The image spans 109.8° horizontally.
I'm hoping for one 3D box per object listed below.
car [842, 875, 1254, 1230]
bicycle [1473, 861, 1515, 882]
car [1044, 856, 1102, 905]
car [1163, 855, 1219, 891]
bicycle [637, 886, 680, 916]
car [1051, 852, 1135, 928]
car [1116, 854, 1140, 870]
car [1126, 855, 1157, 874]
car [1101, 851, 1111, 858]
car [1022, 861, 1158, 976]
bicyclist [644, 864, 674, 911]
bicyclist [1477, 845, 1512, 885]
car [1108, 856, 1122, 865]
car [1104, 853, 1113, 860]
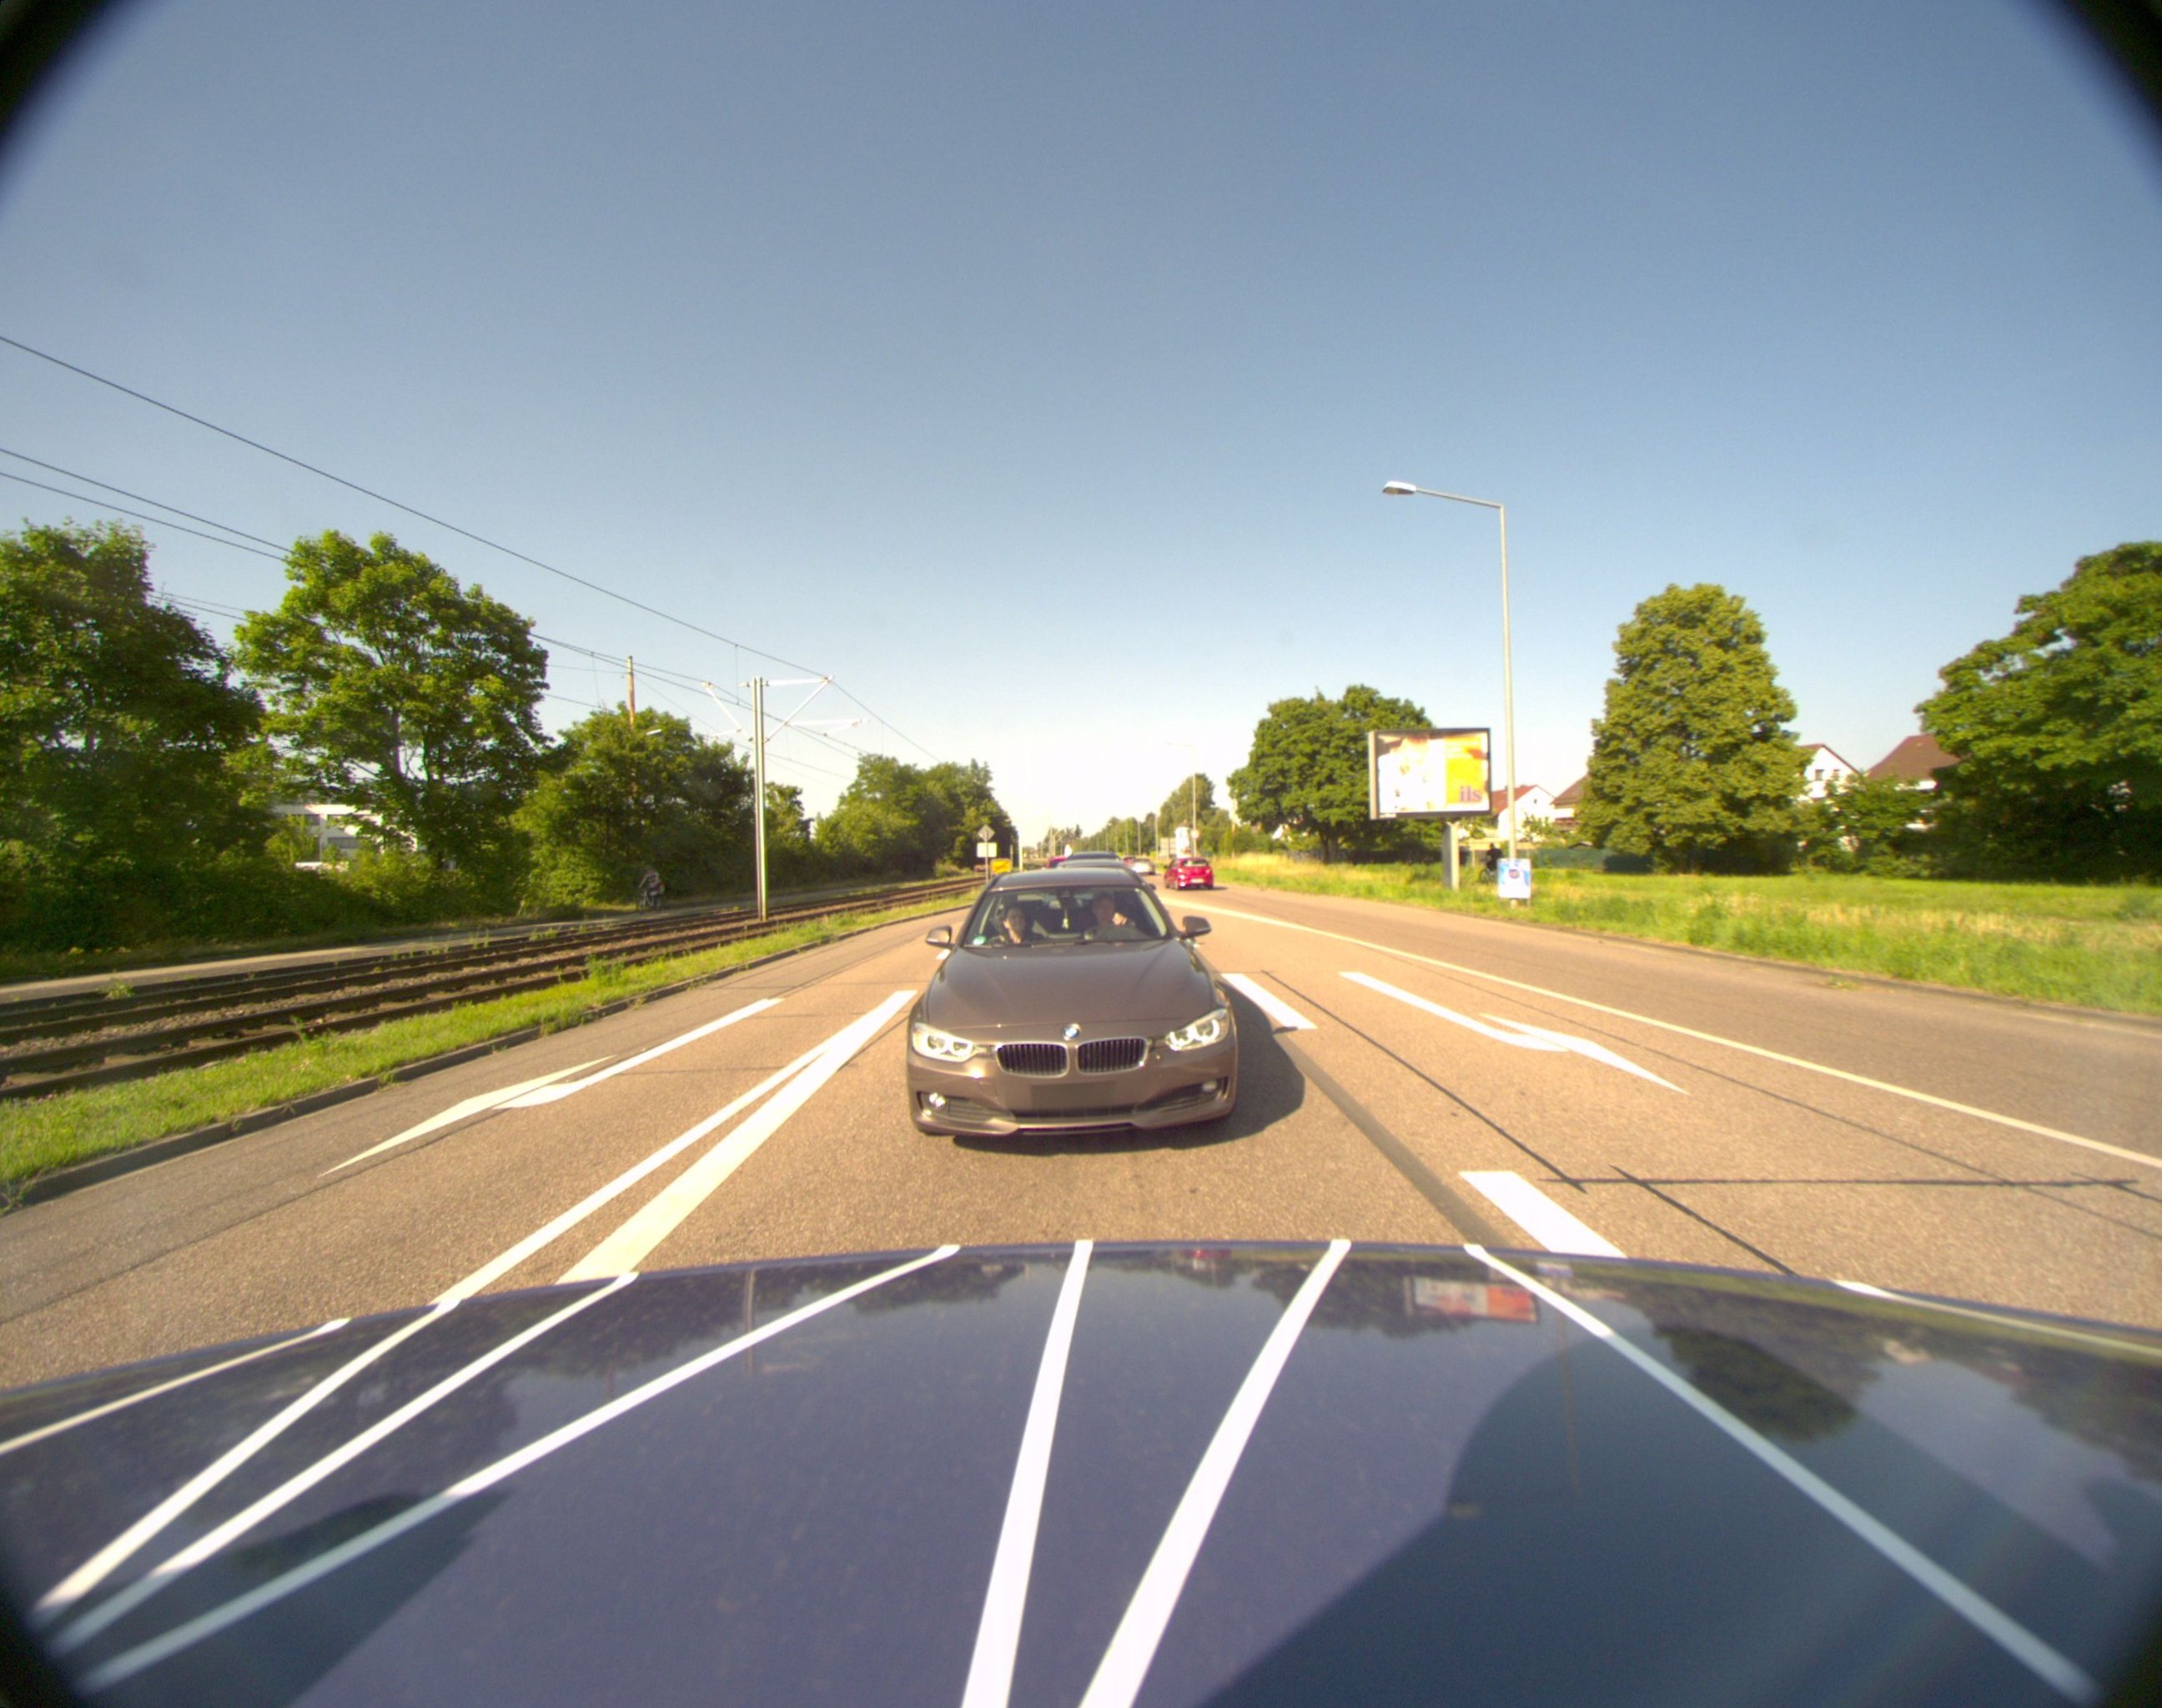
[{"bbox_3d":[-0.124,0.975,5.703,1.821,1.416,4.461,-2,0,1],"label":"car"},{"bbox_3d":[15.190,0.634,28.012,0.455,0.749,1.833,-1,0,-3],"label":"bicycle"},{"bbox_3d":[-0.238,0.845,26.004,1.807,1.498,4.197,-1,0,0],"label":"car"},{"bbox_3d":[4.838,0.802,33.912,1.699,1.489,3.674,0,0,-4],"label":"car"},{"bbox_3d":[-16.716,1.835,30.109,0.547,1.041,1.874,-1,0,3],"label":"bicycle"},{"bbox_3d":[0.294,0.800,19.340,1.821,1.641,4.611,-2,0,0],"label":"car"},{"bbox_3d":[4.418,0.718,71.580,1.784,1.469,3.912,-1,0,-4],"label":"car"},{"bbox_3d":[4.328,0.715,54.989,1.784,1.302,4.286,-1,0,-1],"label":"car"},{"bbox_3d":[5.903,0.084,180.012,1.784,1.469,4.285,-1,0,-3],"label":"car"},{"bbox_3d":[0.147,0.900,12.668,1.821,1.481,4.611,-1,0,0],"label":"car"},{"bbox_3d":[-16.739,1.318,30.171,0.708,1.797,0.718,-1,1,3],"label":"bicyclist"},{"bbox_3d":[15.209,0.402,27.981,0.638,1.420,1.071,-1,1,-3],"label":"bicyclist"},{"bbox_3d":[5.377,1.022,121.517,1.784,1.469,4.285,-1,0,-4],"label":"car"},{"bbox_3d":[5.528,0.504,153.190,1.784,1.469,4.286,-1,0,1],"label":"car"}]
